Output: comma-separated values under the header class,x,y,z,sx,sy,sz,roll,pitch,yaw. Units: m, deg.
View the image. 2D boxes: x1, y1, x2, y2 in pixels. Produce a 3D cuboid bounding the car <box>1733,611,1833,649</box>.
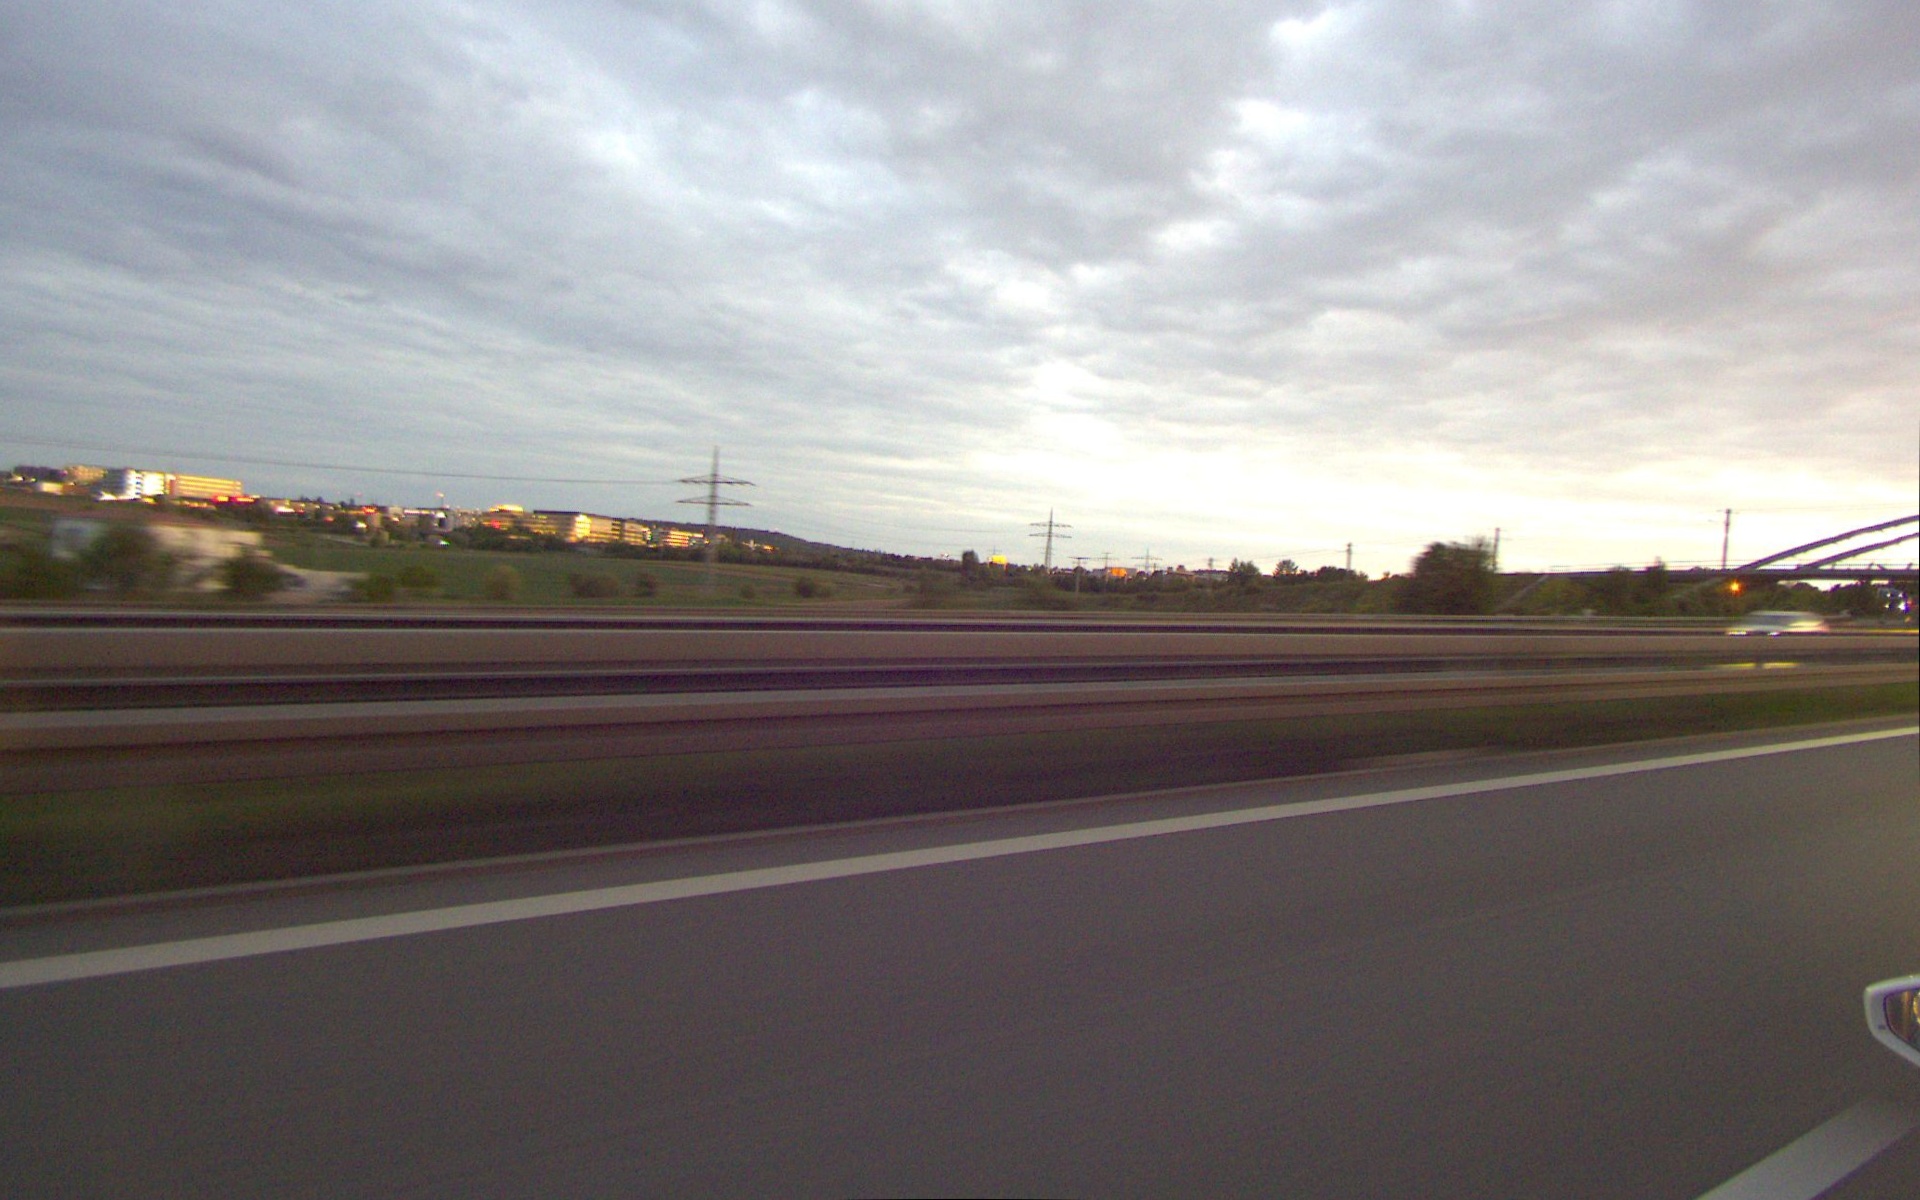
class,x,y,z,sx,sy,sz,roll,pitch,yaw
car,38.329,1.399,46.753,4.785,1.646,1.985,1,0,-29
